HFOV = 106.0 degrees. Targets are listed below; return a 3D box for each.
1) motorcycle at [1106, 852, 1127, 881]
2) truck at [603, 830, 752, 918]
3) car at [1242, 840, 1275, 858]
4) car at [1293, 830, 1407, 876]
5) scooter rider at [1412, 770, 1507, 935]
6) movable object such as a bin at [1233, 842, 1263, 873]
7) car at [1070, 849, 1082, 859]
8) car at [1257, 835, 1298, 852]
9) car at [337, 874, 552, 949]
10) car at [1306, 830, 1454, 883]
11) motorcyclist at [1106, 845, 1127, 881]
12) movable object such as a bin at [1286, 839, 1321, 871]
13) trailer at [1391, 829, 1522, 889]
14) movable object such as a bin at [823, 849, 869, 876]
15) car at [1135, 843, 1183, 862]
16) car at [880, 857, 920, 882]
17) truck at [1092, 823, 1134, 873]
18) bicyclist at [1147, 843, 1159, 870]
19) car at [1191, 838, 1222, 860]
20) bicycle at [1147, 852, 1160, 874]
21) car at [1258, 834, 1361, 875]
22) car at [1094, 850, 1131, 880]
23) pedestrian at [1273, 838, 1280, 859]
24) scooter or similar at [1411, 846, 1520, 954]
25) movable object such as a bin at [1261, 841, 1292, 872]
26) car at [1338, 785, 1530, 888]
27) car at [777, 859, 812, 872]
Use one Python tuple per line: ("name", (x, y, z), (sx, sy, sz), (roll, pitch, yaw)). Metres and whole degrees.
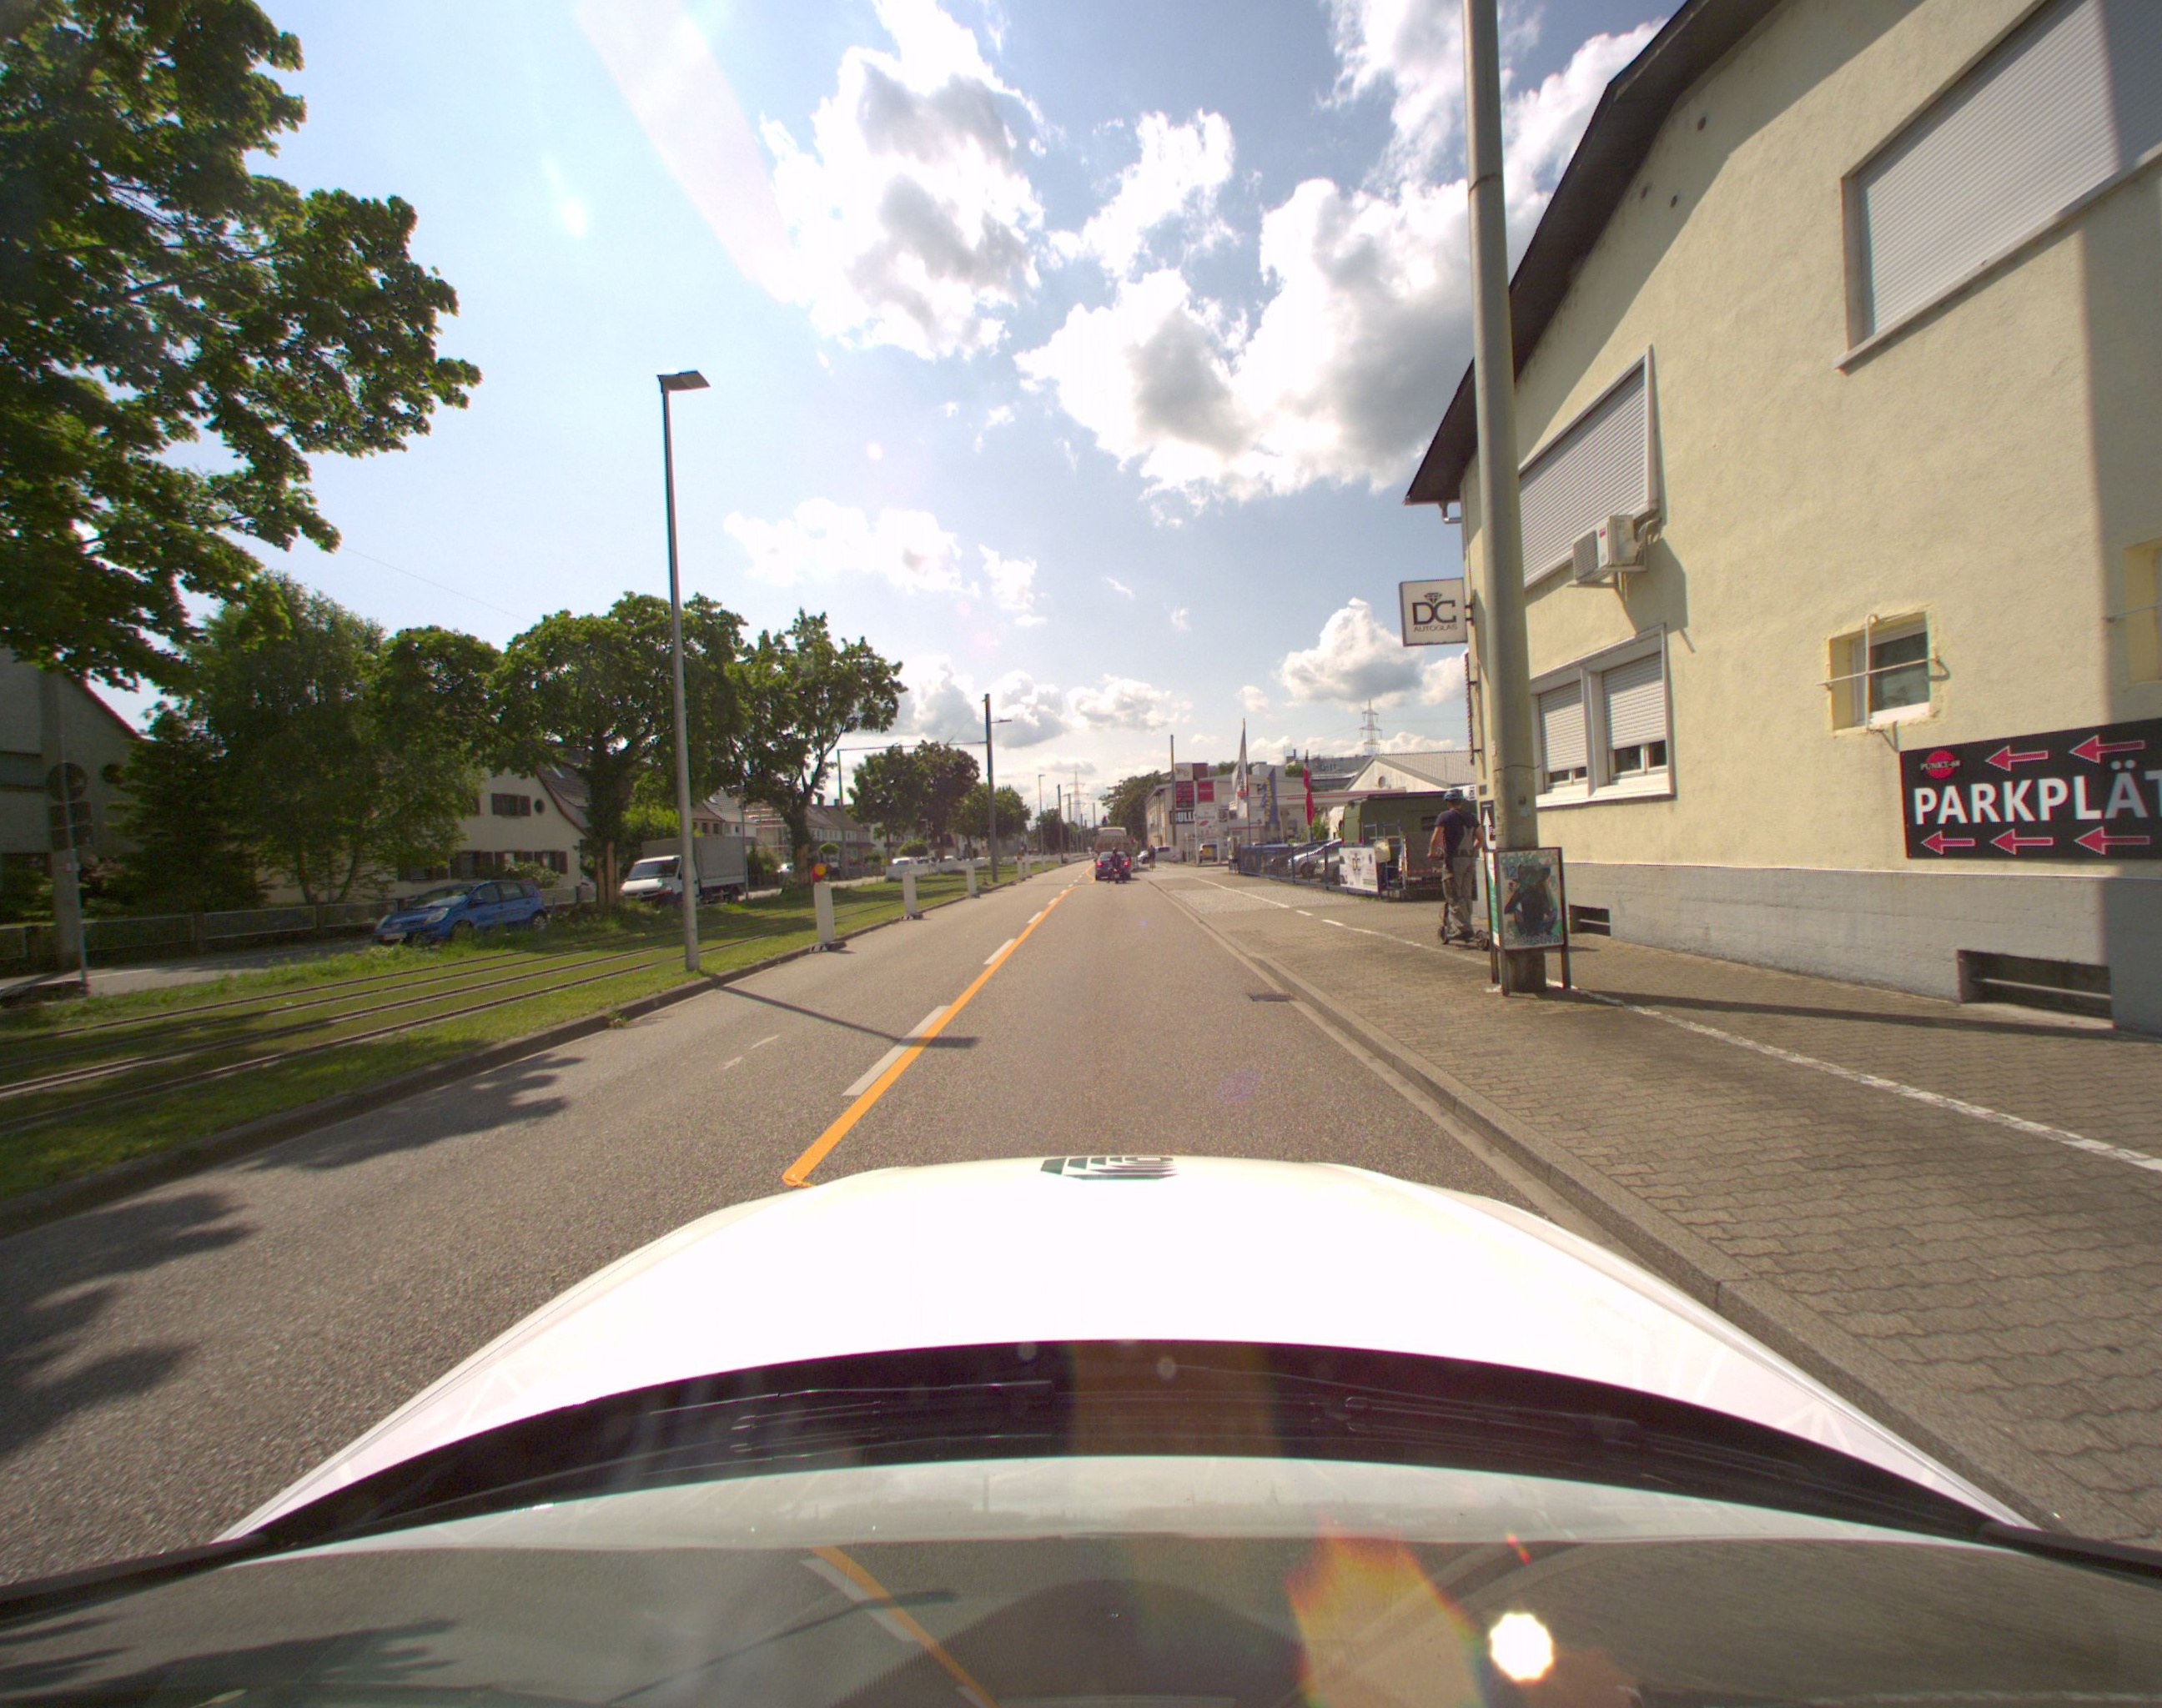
("motorcycle", (1.668, 0.569, 38.326), (0.935, 1.320, 2.646), (-1, 0, 2))
("truck", (-14.859, 0.628, 30.558), (1.986, 2.767, 6.279), (-6, 0, 2))
("car", (15.201, -0.422, 69.980), (1.953, 1.420, 3.999), (-4, 0, 0))
("car", (10.179, -0.036, 31.010), (3.955, 1.496, 1.758), (-3, 0, 17))
("scooter rider", (4.747, -0.014, 10.276), (0.714, 1.963, 0.786), (-4, -1, 3))
("movable object such as a bin", (8.207, 0.187, 40.059), (1.251, 1.444, 0.824), (-4, -1, 2))
("car", (-0.723, -0.024, 124.792), (1.649, 1.447, 4.303), (-4, 0, 0))
("car", (21.562, -1.146, 89.478), (3.973, 1.648, 1.966), (-4, -1, 1))
("car", (-15.211, 1.303, 19.800), (1.987, 1.453, 4.000), (-4, 0, 0))
("car", (9.513, 0.085, 26.200), (4.159, 1.431, 1.825), (-3, 0, 9))
("motorcyclist", (1.662, 0.416, 38.146), (0.936, 1.615, 1.205), (-1, 0, 2))
("movable object such as a bin", (10.893, 0.044, 39.905), (1.318, 1.444, 0.953), (-3, -1, -5))
("trailer", (9.741, 0.122, 21.247), (2.771, 1.333, 1.303), (-4, 0, 2))
("movable object such as a bin", (-24.335, 0.863, 84.215), (4.351, 2.449, 1.777), (-3, 0, -20))
("car", (7.684, -0.119, 80.141), (4.325, 1.551, 1.946), (-4, -1, -7))
("car", (-13.949, 1.134, 62.970), (1.986, 1.750, 4.002), (-4, 0, 2))
("truck", (2.380, -0.517, 59.135), (2.600, 3.255, 9.189), (-4, 1, 3))
("bicyclist", (4.682, 0.176, 53.225), (0.669, 1.744, 0.814), (-3, 0, 1))
("car", (10.674, -0.406, 69.383), (1.953, 1.648, 3.999), (-4, 0, 0))
("bicycle", (4.741, 0.566, 53.368), (0.690, 1.361, 2.419), (-3, 0, 2))
("car", (9.518, 0.021, 33.920), (3.954, 1.442, 1.719), (-3, 0, 19))
("car", (1.666, 0.559, 42.805), (1.815, 1.424, 4.002), (-2, 0, 2))
("pedestrian", (16.358, -0.471, 68.019), (0.395, 1.689, 0.486), (-4, -1, 3))
("scooter or similar", (4.703, 0.530, 10.086), (0.538, 1.195, 1.611), (-5, -1, 2))
("movable object such as a bin", (9.572, 0.115, 39.913), (1.251, 1.444, 0.824), (-4, -1, 2))
("car", (9.988, -0.476, 23.370), (4.517, 2.573, 2.153), (-3, 0, 3))
("car", (-25.254, 0.996, 71.875), (1.680, 1.052, 3.977), (-4, 0, -2))
